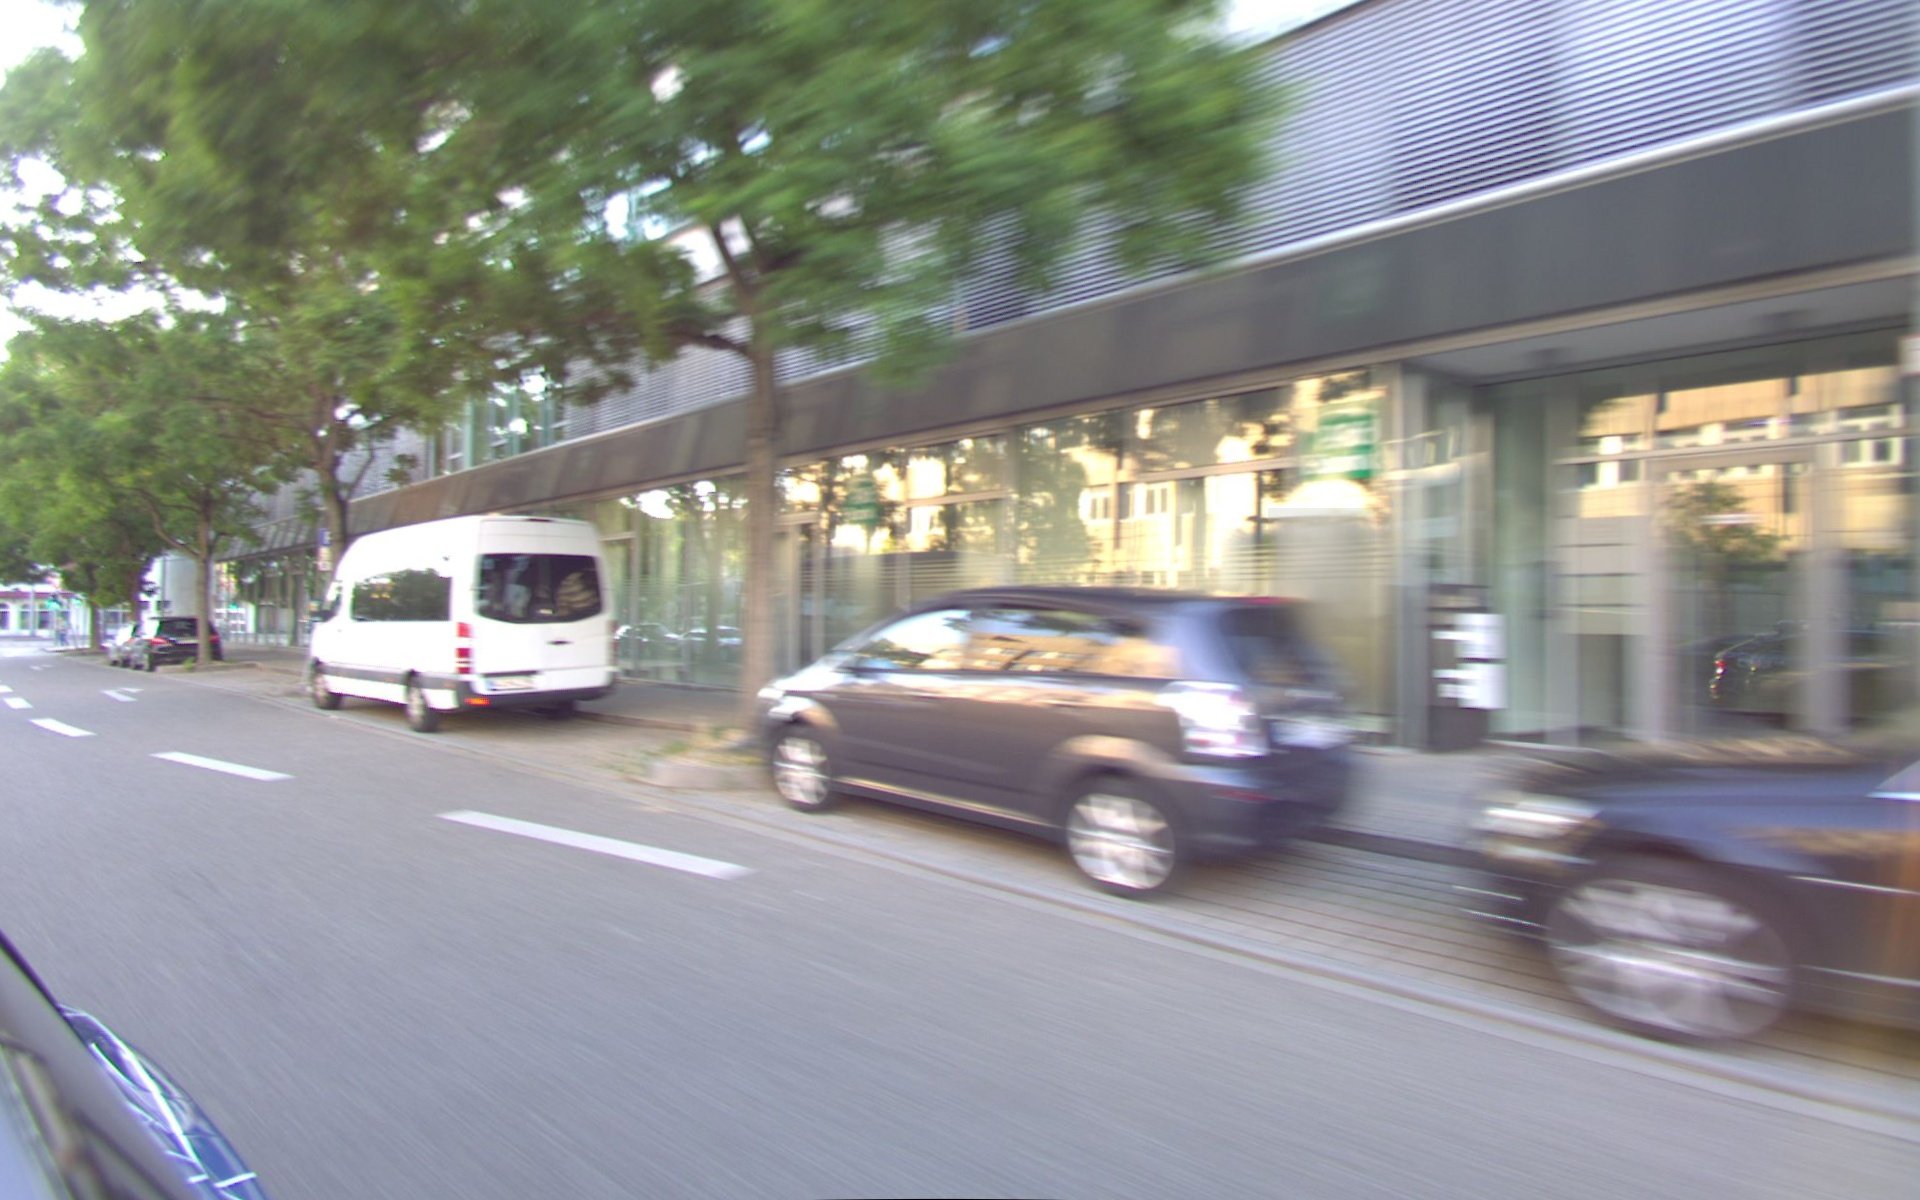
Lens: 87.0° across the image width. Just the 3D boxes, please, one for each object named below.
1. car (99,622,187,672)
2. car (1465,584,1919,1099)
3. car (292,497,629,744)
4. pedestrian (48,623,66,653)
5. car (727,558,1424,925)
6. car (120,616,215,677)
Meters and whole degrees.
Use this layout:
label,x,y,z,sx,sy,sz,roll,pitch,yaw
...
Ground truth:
label,x,y,z,sx,sy,sz,roll,pitch,yaw
car,-27.128,1.516,33.548,4.628,1.472,1.684,-2,1,44
car,4.049,0.677,2.883,4.395,1.463,1.697,-2,-2,40
car,-7.279,0.300,14.193,6.954,2.684,2.076,-2,-2,45
pedestrian,-51.805,2.180,58.059,0.537,1.714,0.709,0,-2,-19
car,0.449,0.665,6.543,4.269,1.583,1.823,-2,-2,44
car,-23.381,1.332,29.796,4.473,1.580,1.572,-2,1,44
